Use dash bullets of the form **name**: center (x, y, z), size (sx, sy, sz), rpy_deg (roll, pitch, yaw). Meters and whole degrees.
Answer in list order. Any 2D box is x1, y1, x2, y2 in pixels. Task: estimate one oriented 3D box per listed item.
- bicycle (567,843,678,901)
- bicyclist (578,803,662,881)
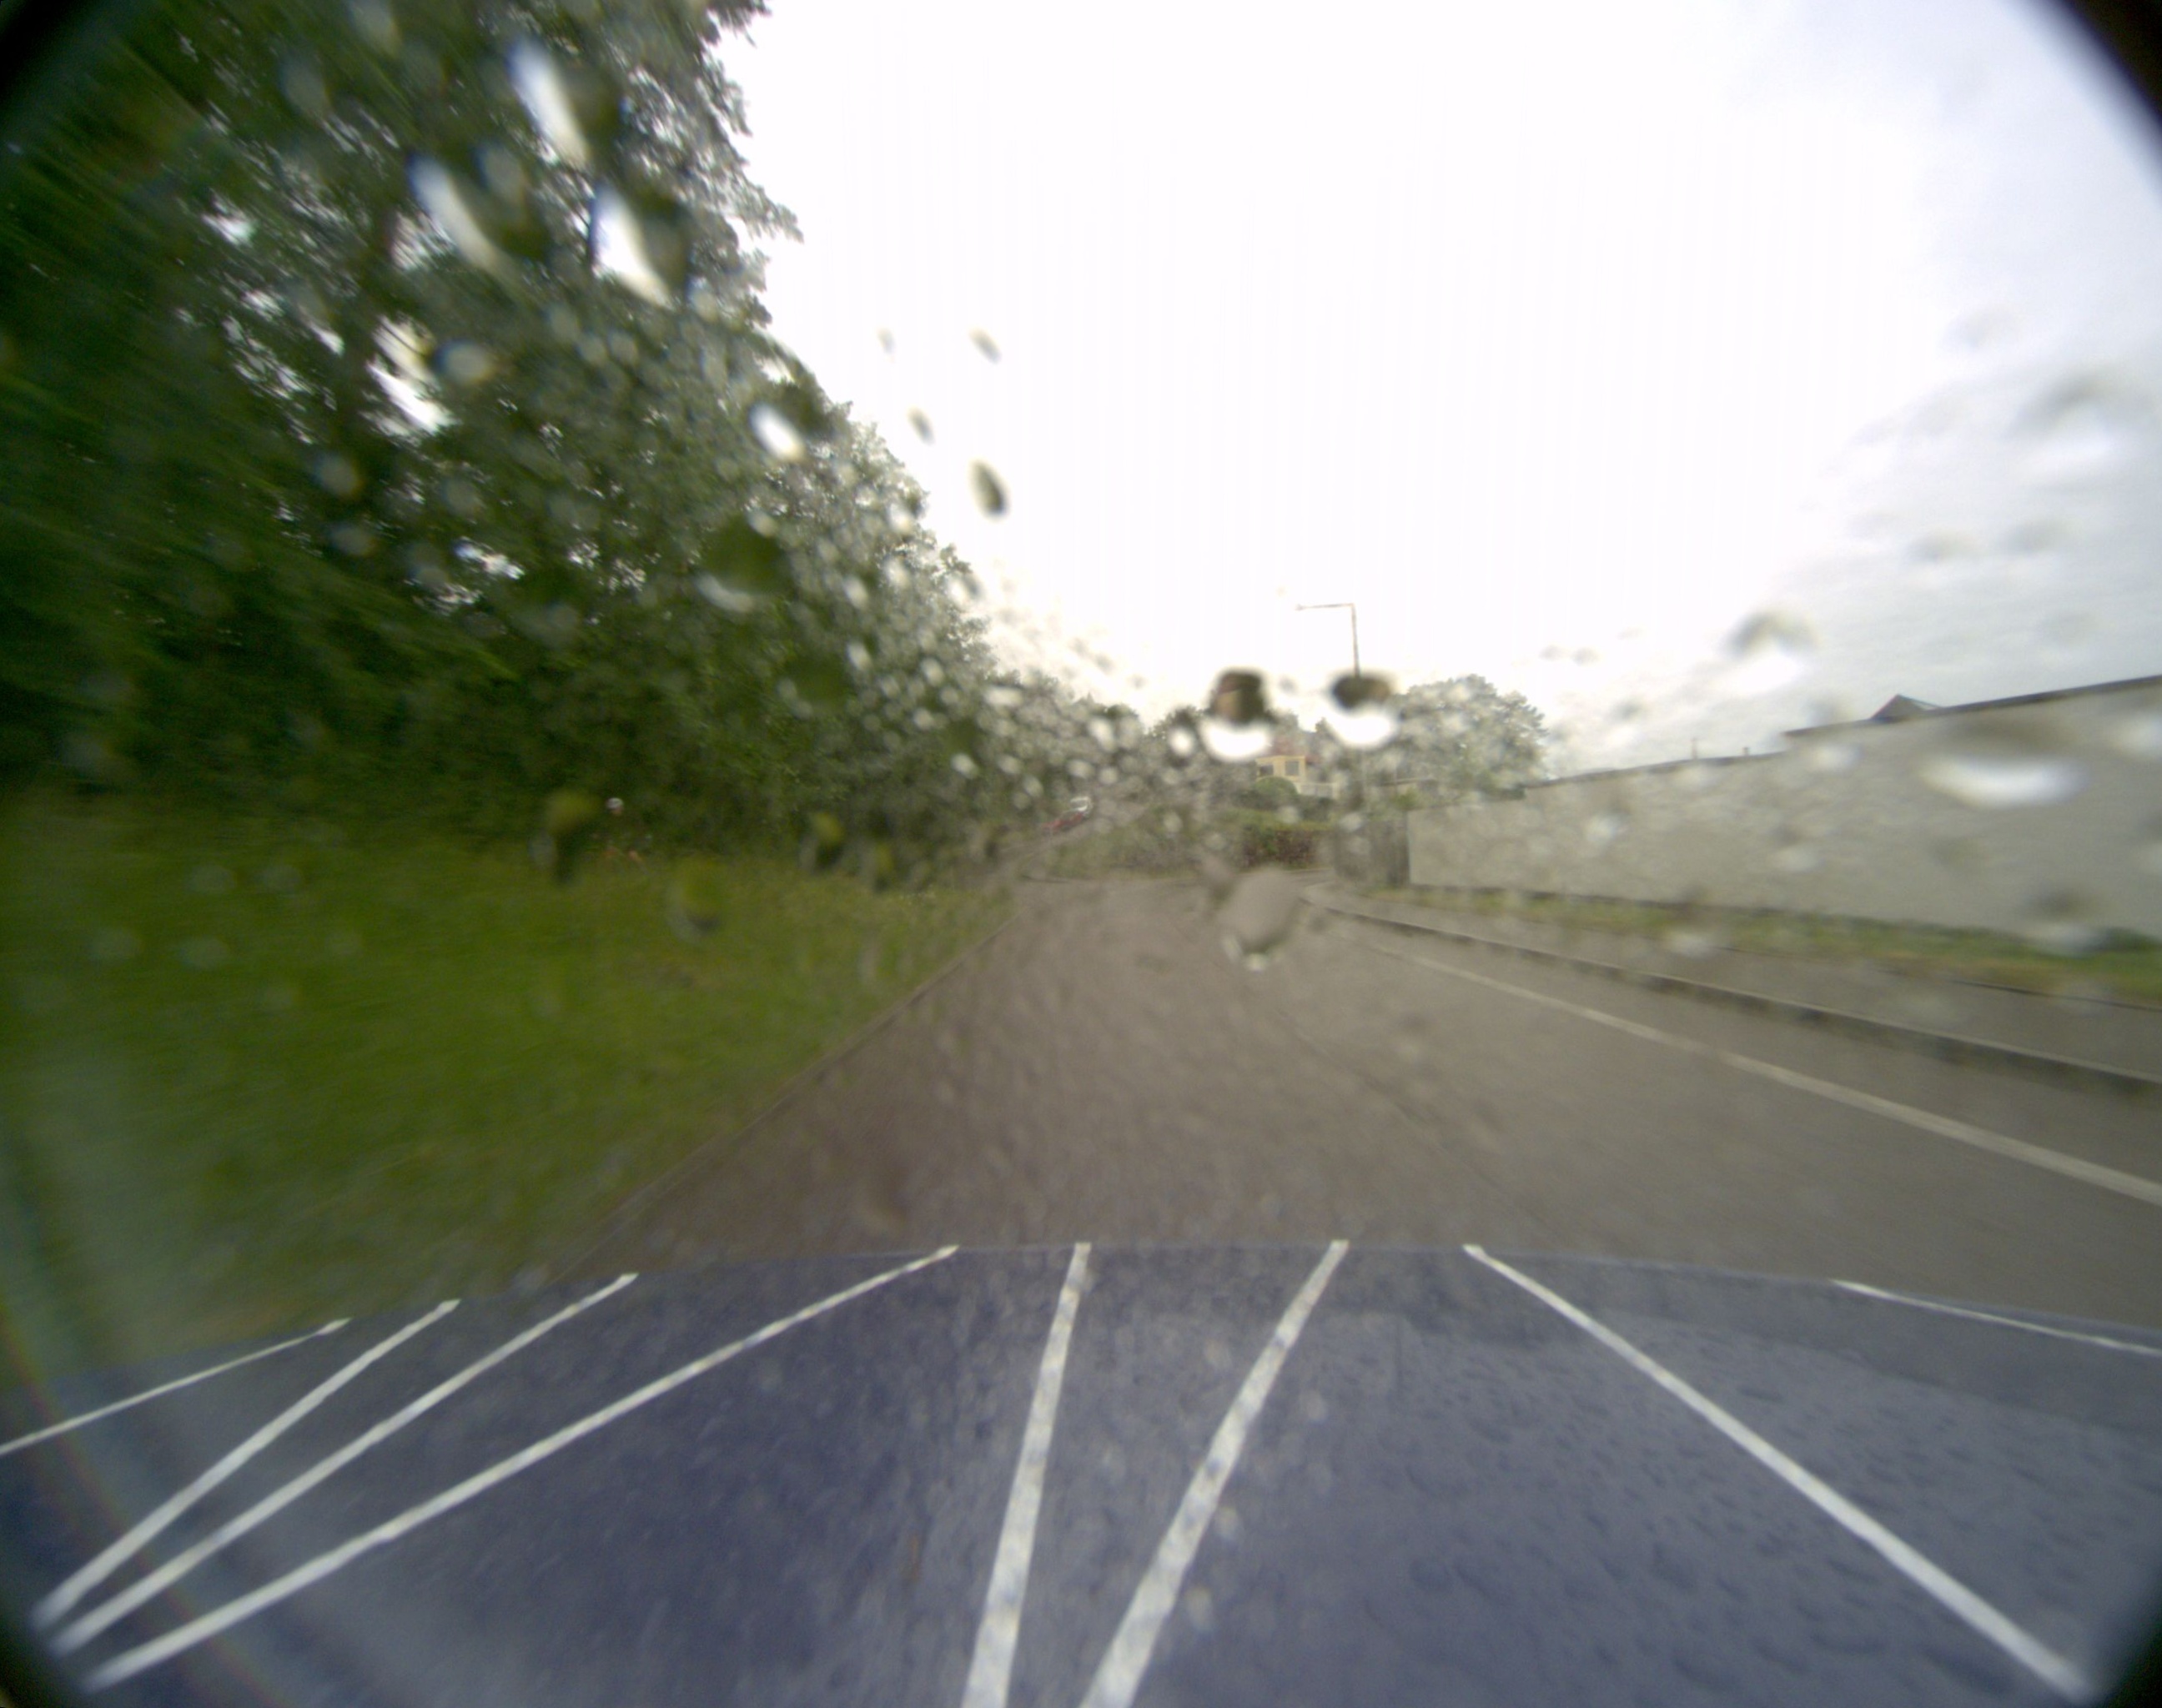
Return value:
- **bicycle**: center (-7.520, 0.264, 12.561), size (0.435, 0.885, 1.699), rpy_deg (-2, 1, 15)
- **bicyclist**: center (-7.586, -0.193, 12.527), size (0.788, 1.220, 0.812), rpy_deg (-2, 1, 15)
